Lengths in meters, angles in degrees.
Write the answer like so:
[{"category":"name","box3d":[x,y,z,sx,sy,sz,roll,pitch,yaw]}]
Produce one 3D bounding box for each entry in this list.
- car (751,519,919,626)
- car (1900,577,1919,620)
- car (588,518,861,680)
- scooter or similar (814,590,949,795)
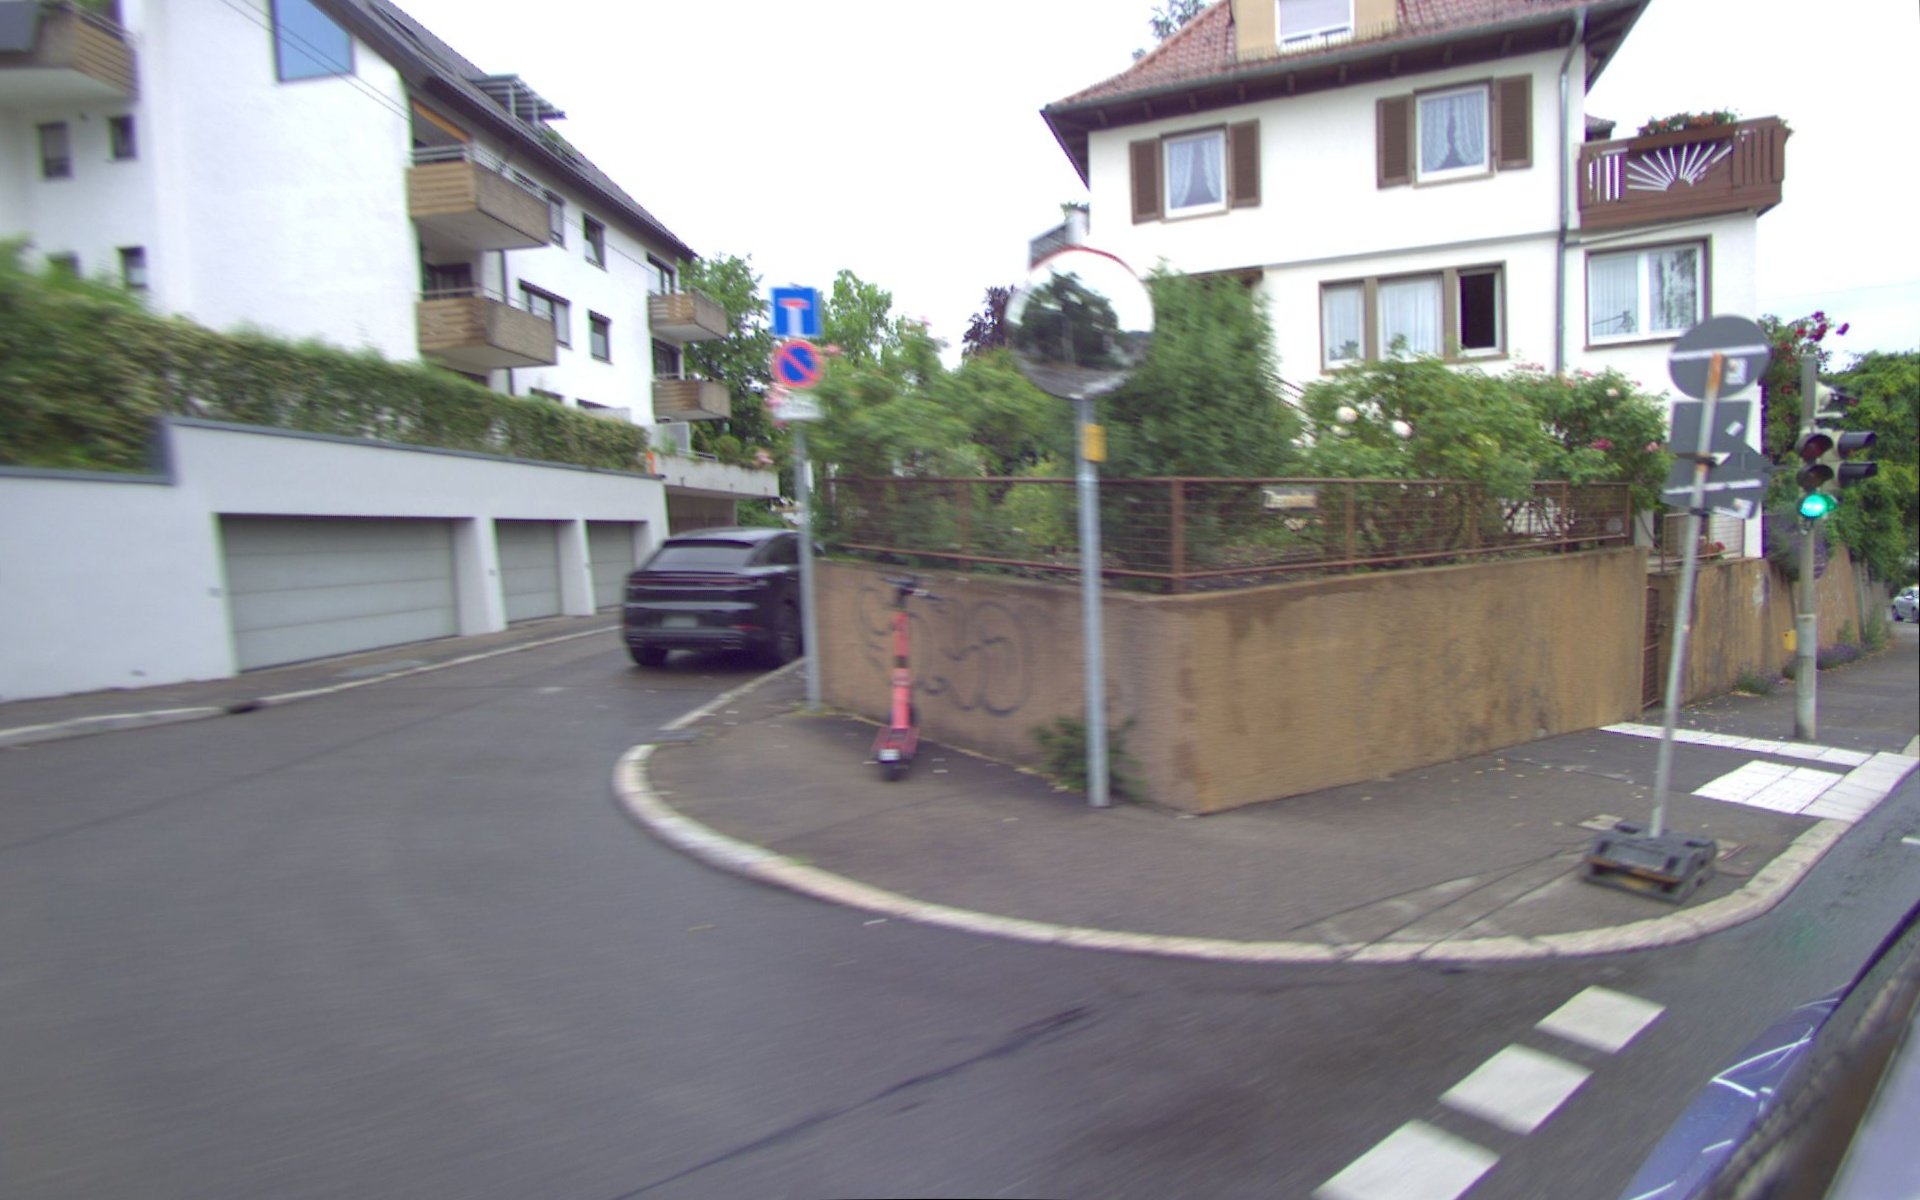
[{"category":"car","box3d":[-2.150,-0.610,18.724,1.845,1.661,4.363,-2,4,10]},{"category":"car","box3d":[43.313,-0.082,44.438,2.003,1.760,4.549,-5,0,32]},{"category":"car","box3d":[-2.862,-0.179,13.483,1.968,1.702,4.364,0,6,10]},{"category":"scooter or similar","box3d":[-0.484,0.543,6.795,0.642,1.069,1.559,1,6,5]}]
